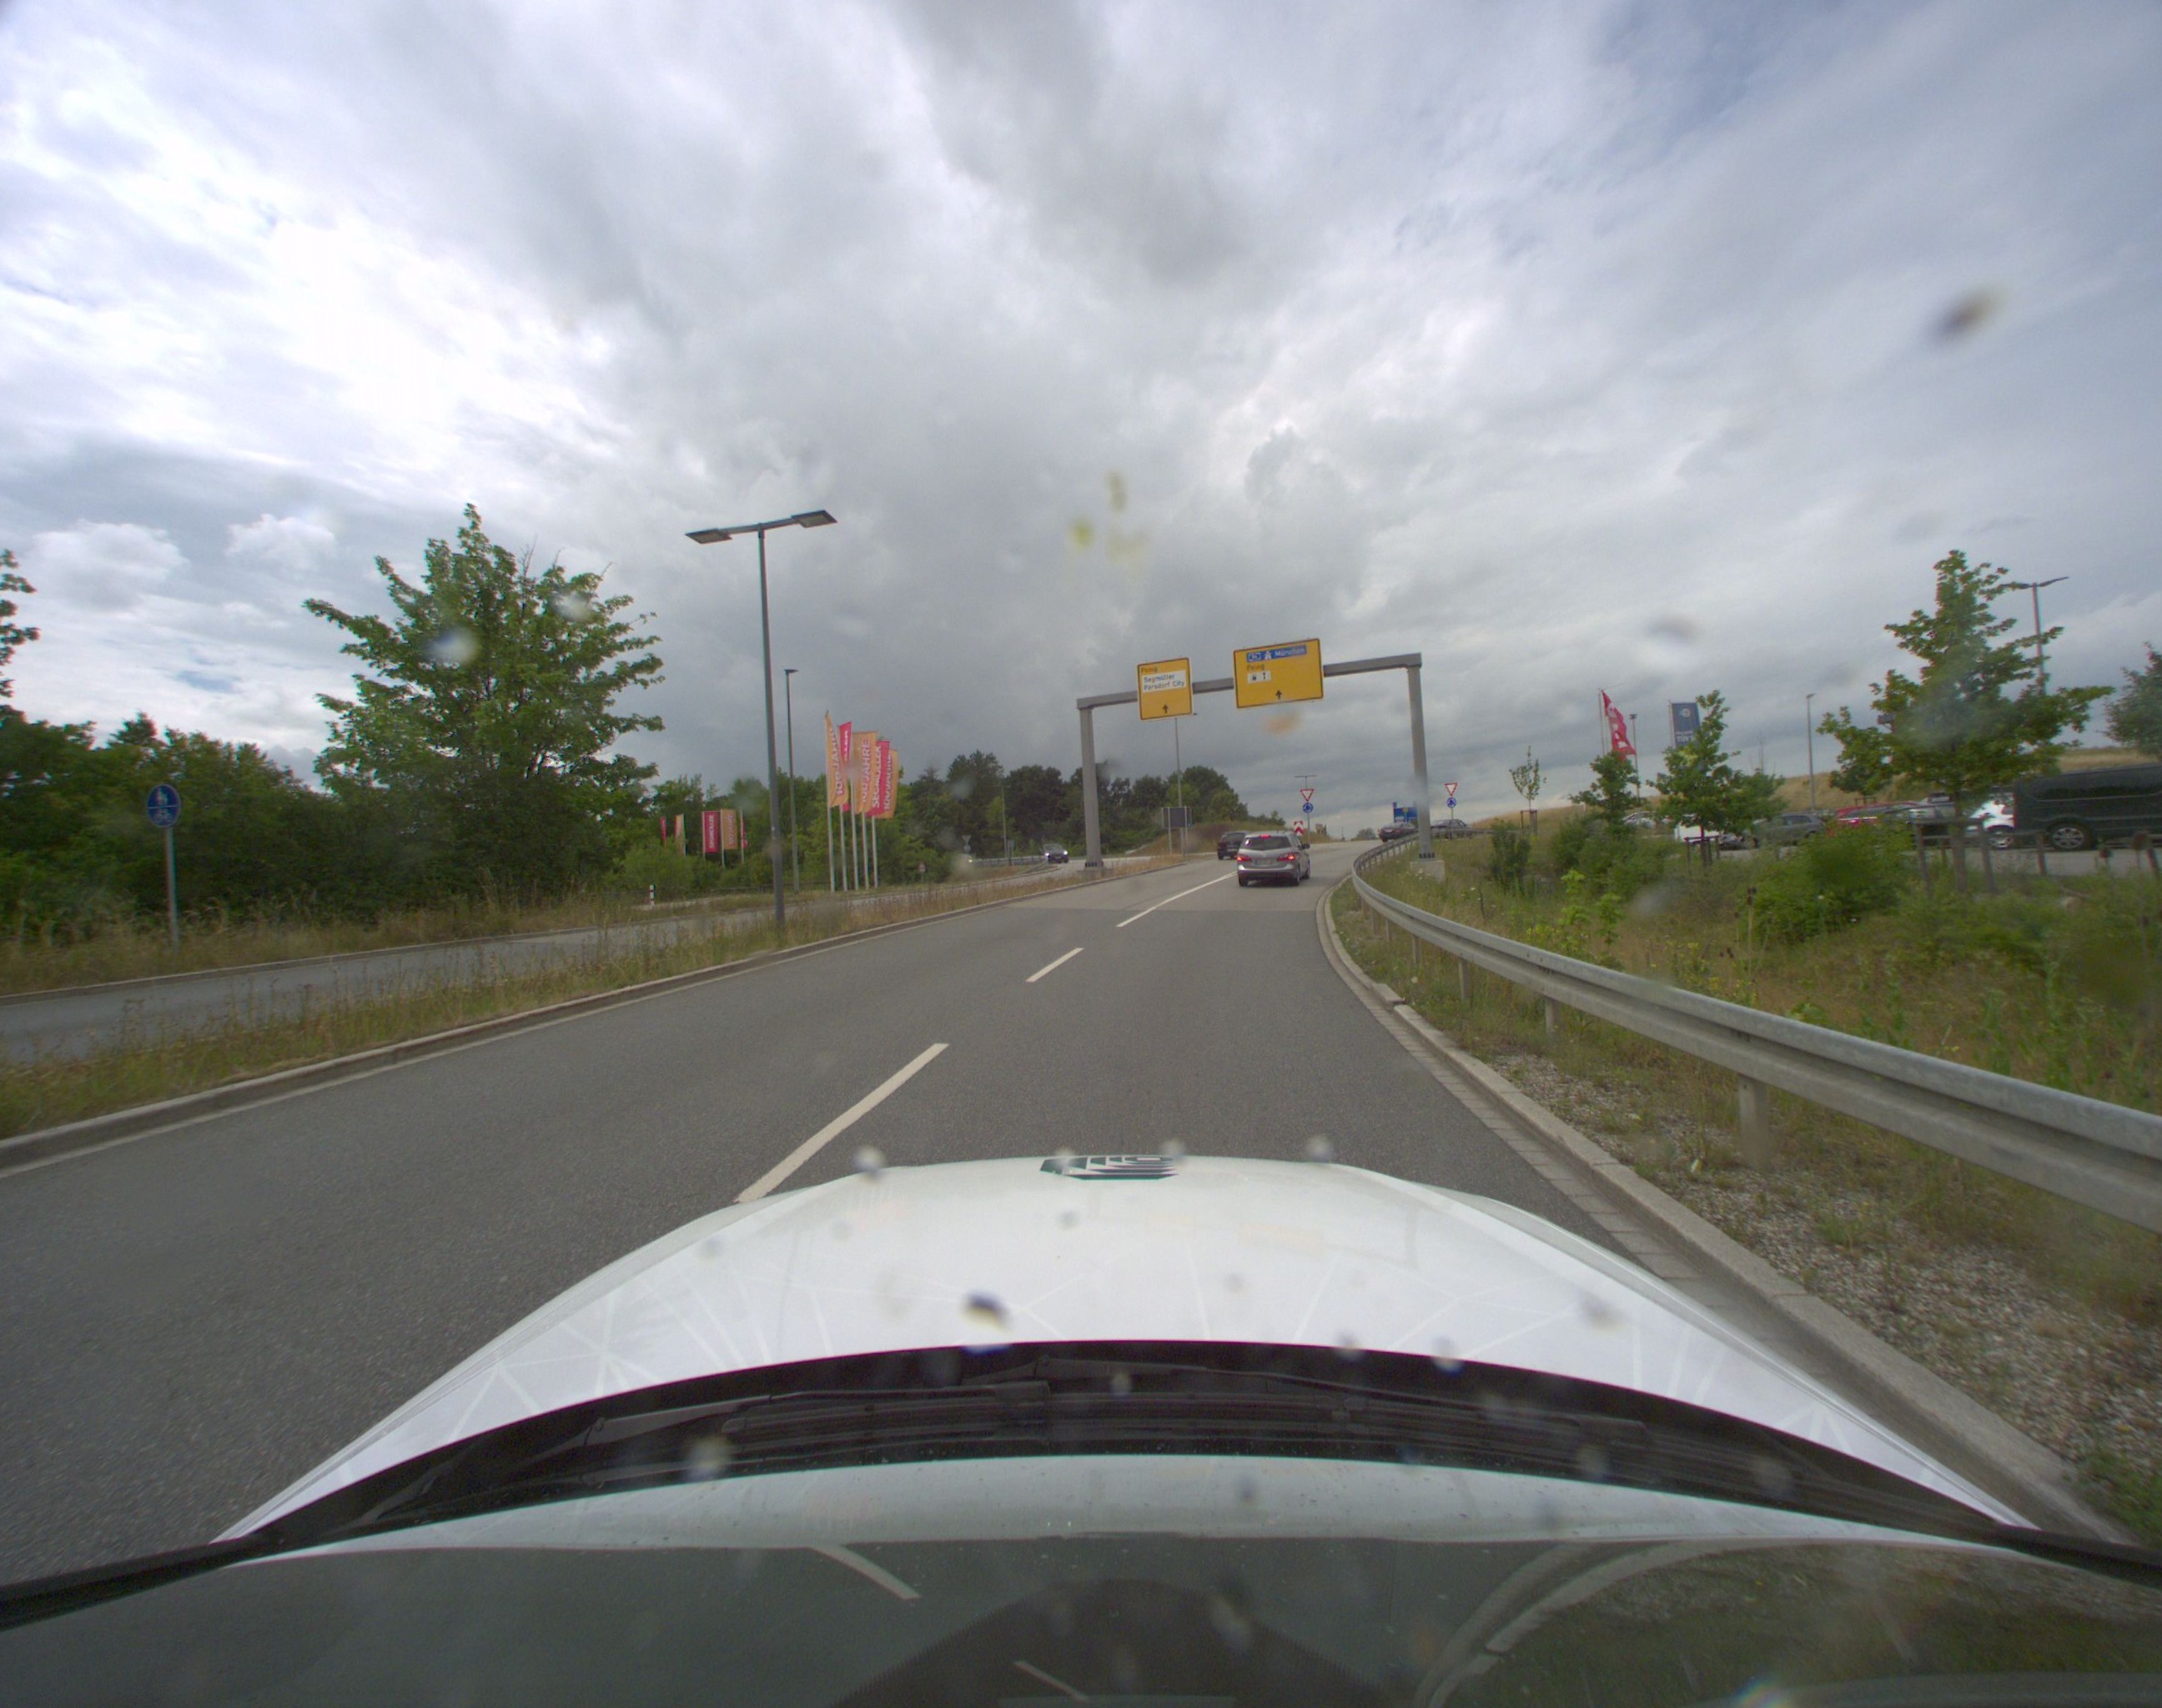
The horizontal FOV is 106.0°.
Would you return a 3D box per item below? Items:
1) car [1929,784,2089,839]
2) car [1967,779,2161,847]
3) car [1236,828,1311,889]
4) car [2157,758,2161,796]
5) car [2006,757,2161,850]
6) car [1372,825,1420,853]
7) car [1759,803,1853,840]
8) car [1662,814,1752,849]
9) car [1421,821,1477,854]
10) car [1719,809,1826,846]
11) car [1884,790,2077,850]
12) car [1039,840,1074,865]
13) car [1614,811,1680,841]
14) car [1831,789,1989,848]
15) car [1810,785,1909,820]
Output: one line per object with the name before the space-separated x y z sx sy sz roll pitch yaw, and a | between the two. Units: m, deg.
car | 34.606 -1.553 30.482 3.569 1.736 1.603 -3 -1 17
car | 26.407 -1.071 21.513 1.598 1.442 3.724 -4 -2 -29
car | 5.938 0.051 24.790 1.752 1.616 3.942 1 3 20
car | 24.228 -1.244 15.593 1.840 1.842 4.148 -4 -2 -33
car | 25.022 -1.240 19.020 1.886 1.950 4.090 -3 -2 -28
car | 22.773 -1.125 58.745 1.877 1.783 4.183 -4 0 40
car | 37.903 -1.661 42.671 1.636 1.693 3.581 -4 0 -1
car | 33.549 -1.190 43.734 1.642 1.625 3.567 -4 0 -12
car | 22.571 -1.017 49.907 3.980 1.837 1.639 -3 0 -43
car | 33.587 -1.278 39.659 3.631 1.483 1.511 -4 -2 20
car | 27.238 -0.994 24.785 1.620 1.420 3.601 -4 -2 -30
car | -1.965 -0.086 63.306 1.856 1.665 4.145 -6 1 -12
car | 44.084 -2.176 63.528 3.999 2.013 1.806 -4 0 28
car | 28.429 -1.183 28.024 1.556 1.624 3.427 -4 -2 -30
car | 41.331 -2.697 43.340 1.686 1.547 3.657 -4 0 -1
